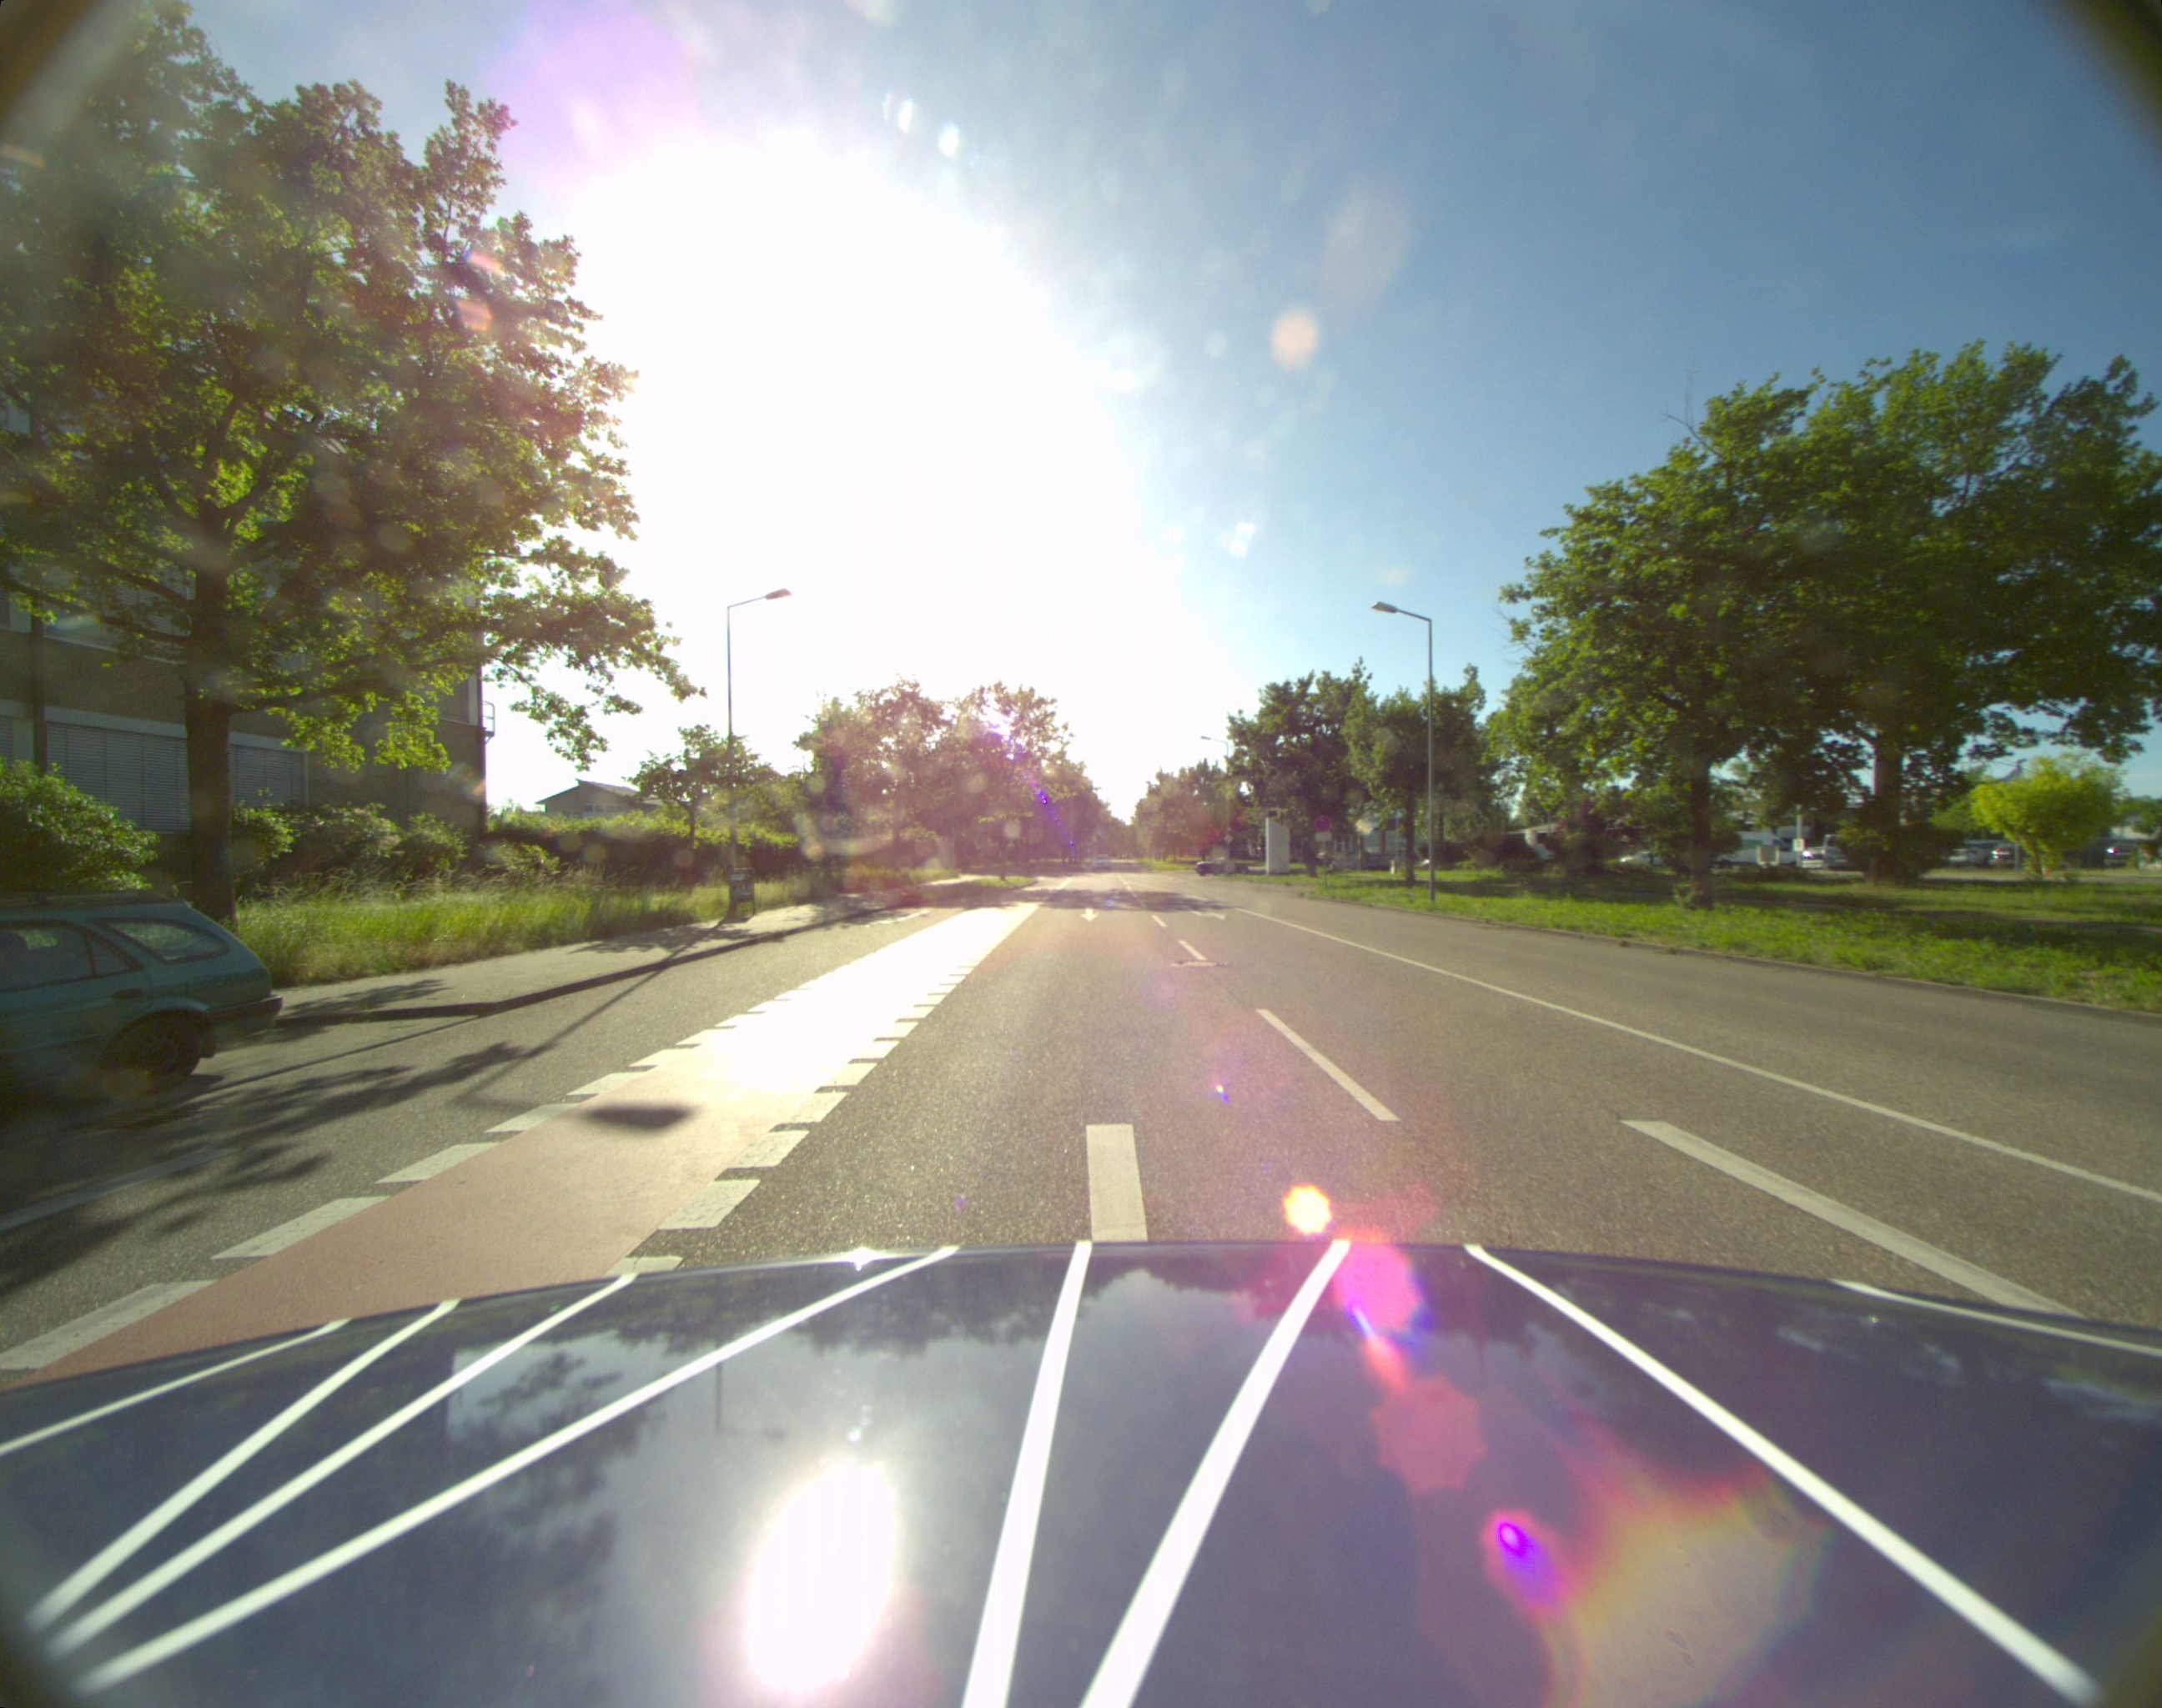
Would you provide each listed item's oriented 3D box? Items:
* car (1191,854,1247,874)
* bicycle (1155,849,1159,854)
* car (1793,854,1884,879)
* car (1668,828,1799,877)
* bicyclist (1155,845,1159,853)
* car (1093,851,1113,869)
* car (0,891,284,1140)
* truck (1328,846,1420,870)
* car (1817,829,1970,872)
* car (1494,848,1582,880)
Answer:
[{"bbox_3d":[10.626,0.779,58.473,1.994,1.395,4.598,2,0,44],"label":"car"},{"bbox_3d":[15.706,-0.530,156.885,0.552,1.155,2.334,-2,1,3],"label":"bicycle"},{"bbox_3d":[41.201,0.667,41.368,3.532,1.294,1.574,-1,1,-2],"label":"car"},{"bbox_3d":[39.580,-0.098,46.187,6.176,2.687,2.300,-2,1,-3],"label":"car"},{"bbox_3d":[15.695,-1.106,156.929,0.665,1.620,0.659,-2,2,3],"label":"bicyclist"},{"bbox_3d":[2.085,0.549,72.576,1.827,1.477,3.999,-2,1,1],"label":"car"},{"bbox_3d":[-7.478,1.055,4.217,1.596,1.420,4.203,1,1,2],"label":"car"},{"bbox_3d":[25.143,0.346,65.429,7.130,2.038,2.140,0,1,-2],"label":"truck"},{"bbox_3d":[40.663,-0.190,38.124,5.424,2.058,2.300,-1,1,-3],"label":"car"},{"bbox_3d":[39.894,0.830,66.428,6.356,2.501,2.300,-2,1,-3],"label":"car"}]
